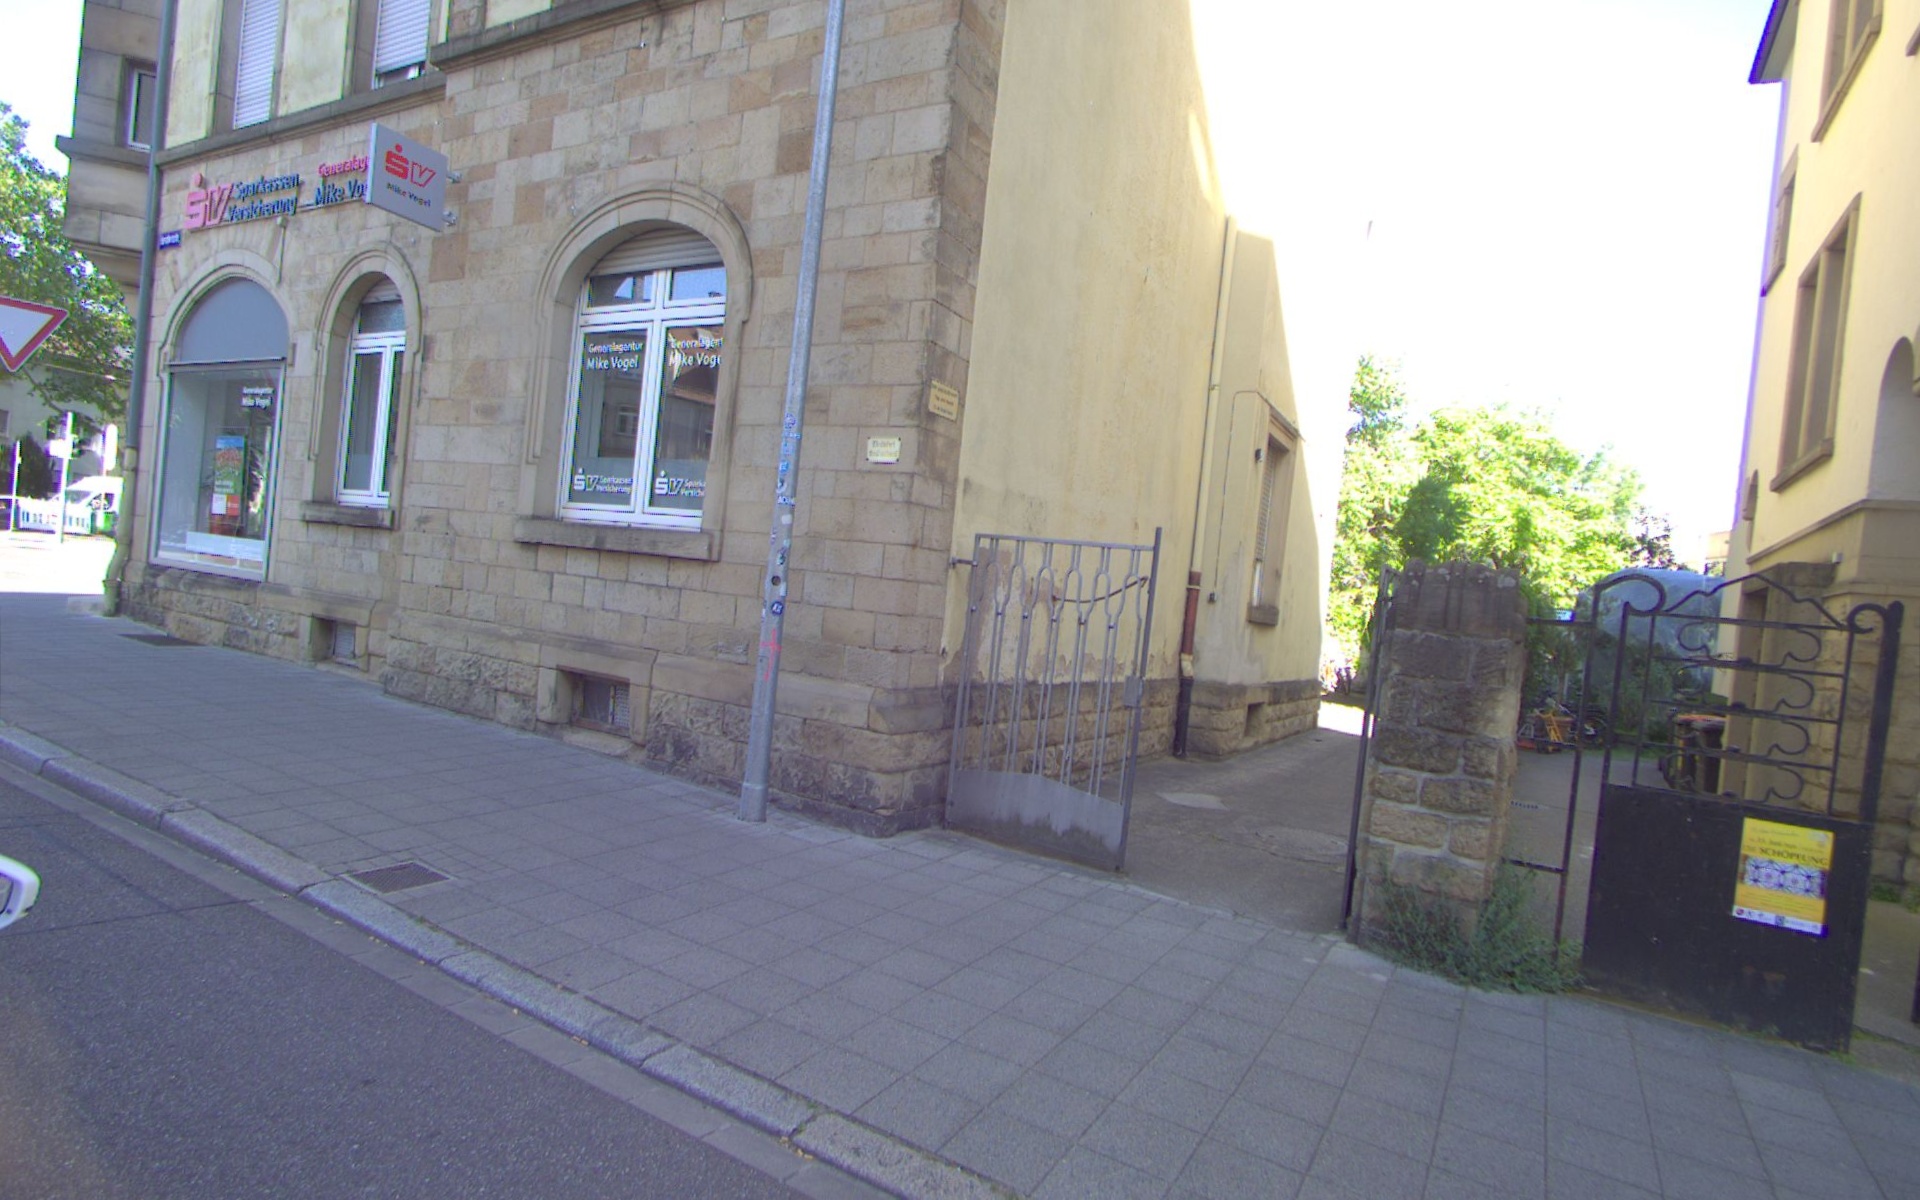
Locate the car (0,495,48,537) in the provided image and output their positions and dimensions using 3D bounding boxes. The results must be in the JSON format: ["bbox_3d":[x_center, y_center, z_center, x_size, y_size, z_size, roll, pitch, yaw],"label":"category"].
[{"bbox_3d":[-38.462,-3.446,39.674,1.496,1.506,3.391,6,0,10],"label":"car"}]

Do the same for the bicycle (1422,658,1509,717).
[{"bbox_3d":[12.302,2.107,24.615,0.855,1.124,2.864,6,0,7],"label":"bicycle"}]

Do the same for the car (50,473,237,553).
[{"bbox_3d":[-34.399,-3.576,42.686,1.962,2.600,6.061,7,0,14],"label":"car"}]

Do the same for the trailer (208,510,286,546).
[{"bbox_3d":[-33.216,-3.351,46.948,1.246,1.328,2.749,7,0,13],"label":"trailer"}]

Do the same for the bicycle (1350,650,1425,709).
[{"bbox_3d":[10.615,1.950,25.086,0.860,1.180,2.659,6,0,6],"label":"bicycle"}]
